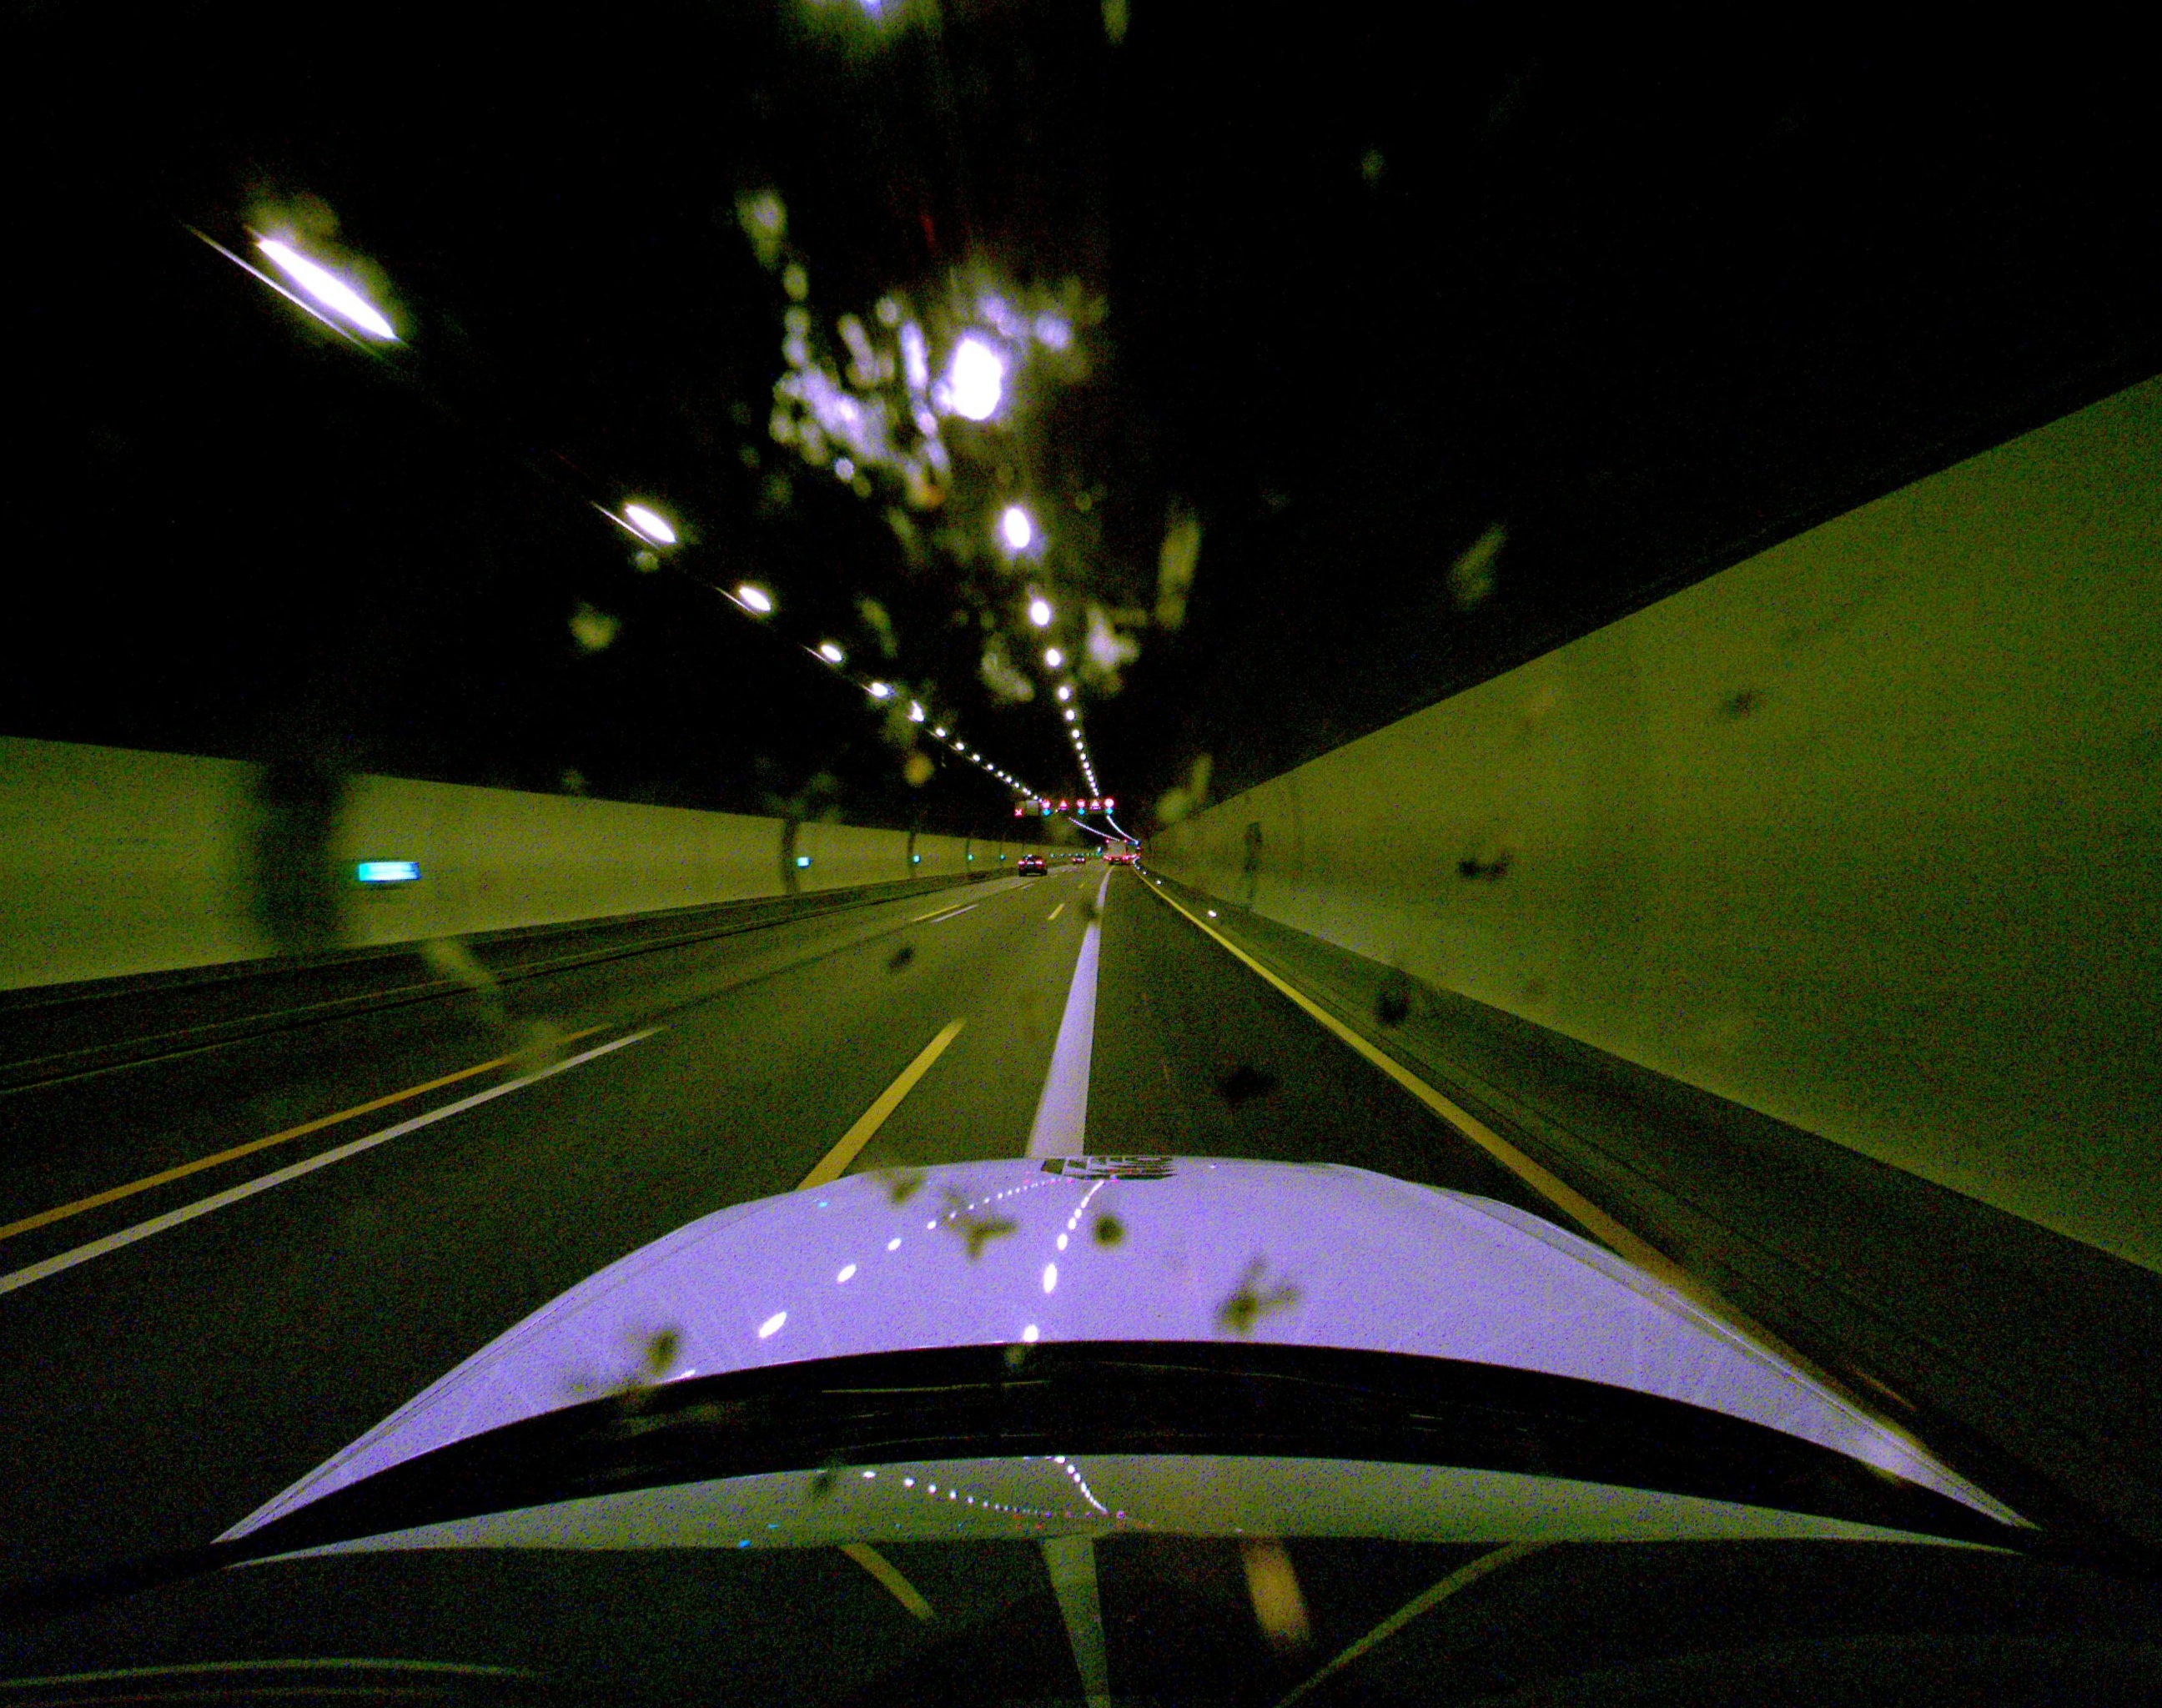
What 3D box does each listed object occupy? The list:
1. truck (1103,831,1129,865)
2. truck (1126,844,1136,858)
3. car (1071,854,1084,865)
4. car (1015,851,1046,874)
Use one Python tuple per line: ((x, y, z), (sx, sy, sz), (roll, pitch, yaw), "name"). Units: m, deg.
((5.001, -0.841, 120.643), (3.267, 4.650, 17.288), (-1, 0, 1), "truck")
((15.149, -0.833, 247.480), (2.910, 4.048, 14.043), (-1, 0, 4), "truck")
((-0.481, 0.777, 118.301), (1.806, 1.520, 4.002), (0, 1, 2), "car")
((-3.706, 0.620, 60.392), (1.805, 1.618, 4.003), (0, 0, 3), "car")
